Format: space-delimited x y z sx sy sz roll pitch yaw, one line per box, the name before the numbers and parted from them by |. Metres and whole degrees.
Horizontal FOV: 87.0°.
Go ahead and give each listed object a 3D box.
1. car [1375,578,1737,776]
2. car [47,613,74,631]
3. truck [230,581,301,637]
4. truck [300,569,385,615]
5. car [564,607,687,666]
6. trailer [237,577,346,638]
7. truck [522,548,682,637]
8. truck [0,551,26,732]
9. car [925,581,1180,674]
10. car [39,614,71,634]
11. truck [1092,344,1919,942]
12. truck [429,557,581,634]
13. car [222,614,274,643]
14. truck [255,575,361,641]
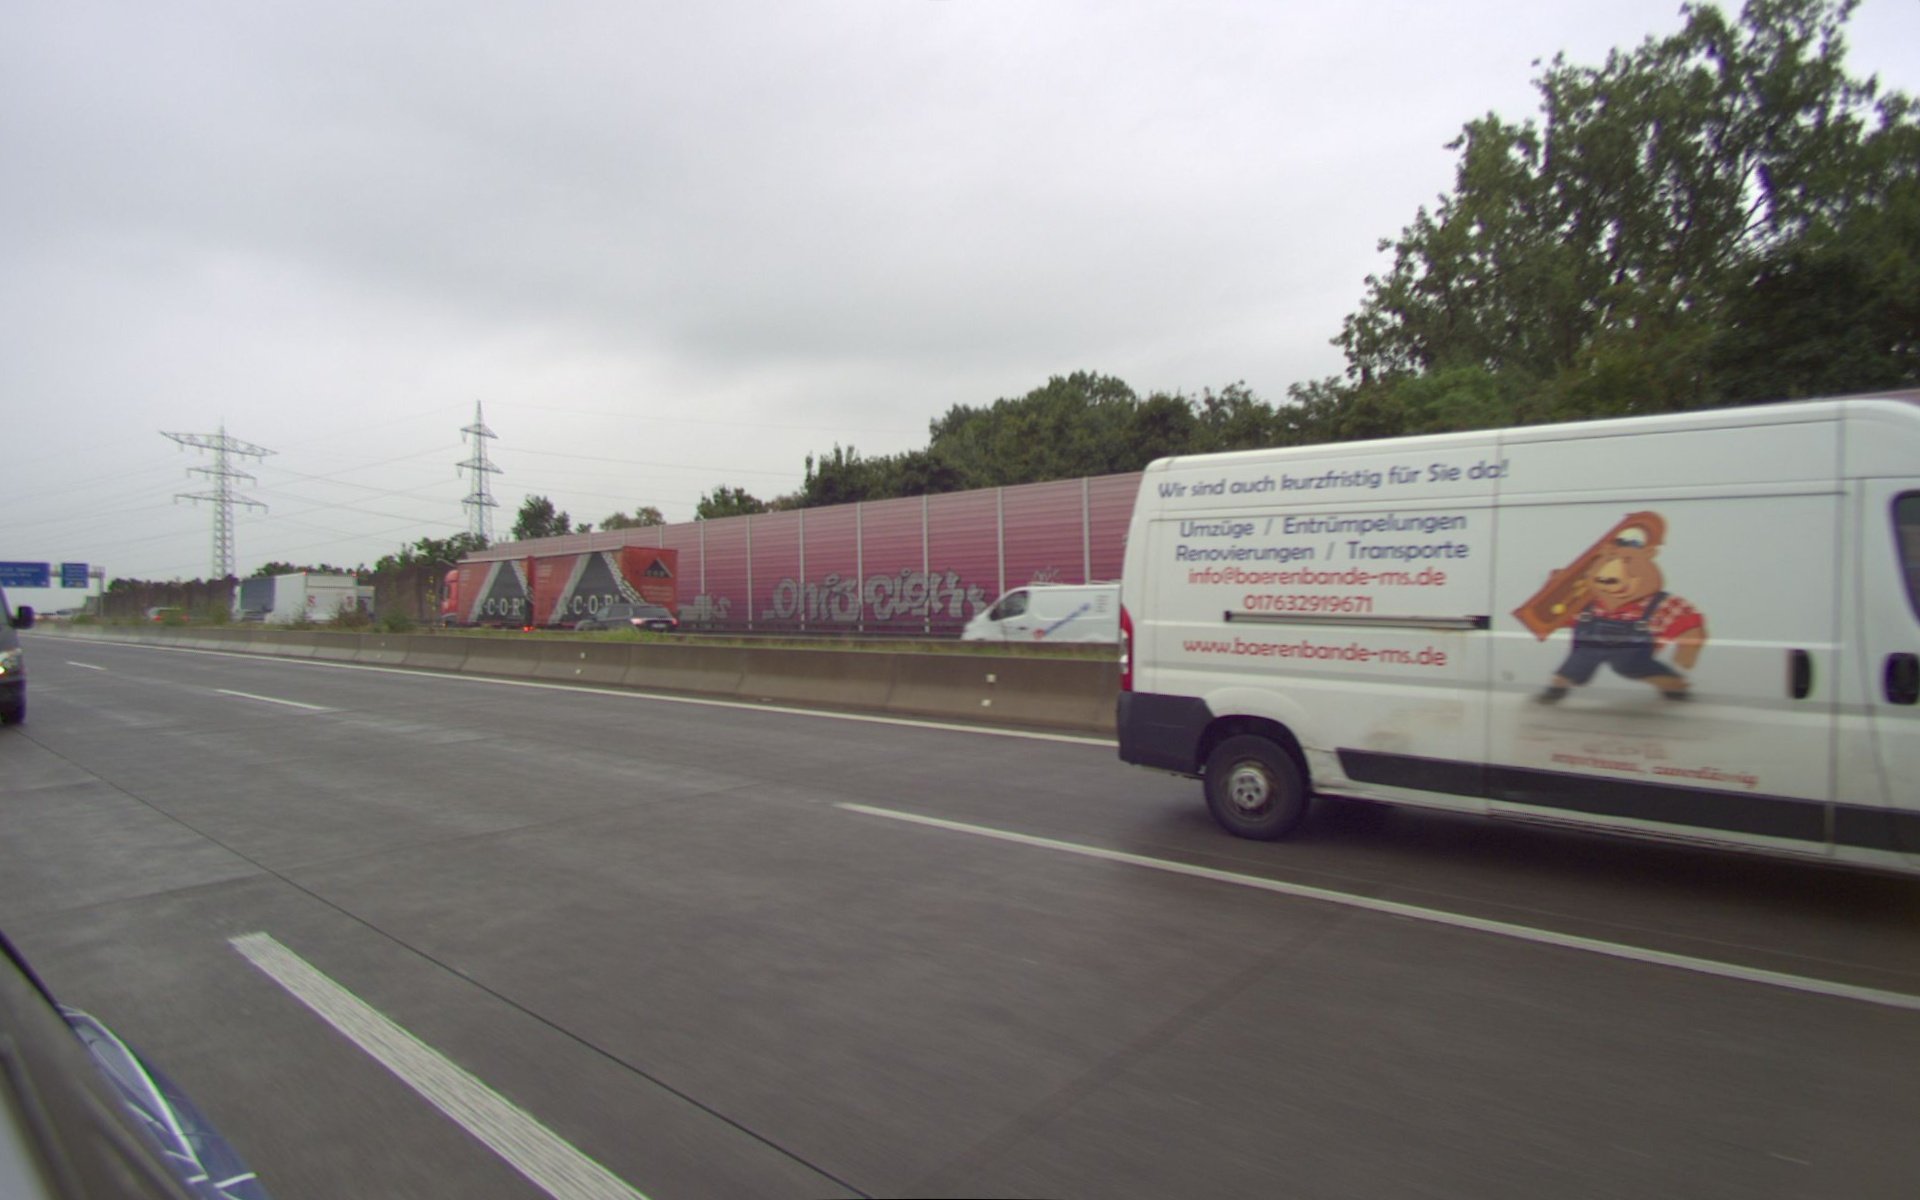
car | 7.514 0.866 12.899 3.650 2.028 1.846 -2 4 41
car | -111.669 2.723 125.590 5.133 2.029 1.972 -1 0 43
truck | -53.624 0.668 78.114 6.048 4.057 3.015 -1 1 41
truck | -48.422 -0.586 79.227 9.374 3.272 2.910 -1 1 41
car | -11.595 1.223 34.953 4.385 1.873 1.974 -1 0 39
trailer | -49.170 0.578 74.145 14.120 4.057 3.014 -1 1 41
truck | -15.736 -0.247 44.117 8.490 3.517 2.752 -1 0 41
truck | -15.322 0.584 14.588 6.106 2.355 1.973 -1 0 40
car | 1.951 0.583 22.740 5.536 1.873 1.974 -1 0 39
car | -97.181 2.580 108.632 4.789 2.029 1.973 -1 0 42
truck | 4.113 0.192 5.609 6.580 2.498 2.214 -1 -1 41
truck | -22.880 -0.130 50.479 10.613 3.517 2.752 -1 0 41
car | -48.736 1.945 69.244 4.388 1.873 1.973 -1 0 41
truck | -30.742 0.384 47.591 7.276 2.849 2.243 -1 1 41
